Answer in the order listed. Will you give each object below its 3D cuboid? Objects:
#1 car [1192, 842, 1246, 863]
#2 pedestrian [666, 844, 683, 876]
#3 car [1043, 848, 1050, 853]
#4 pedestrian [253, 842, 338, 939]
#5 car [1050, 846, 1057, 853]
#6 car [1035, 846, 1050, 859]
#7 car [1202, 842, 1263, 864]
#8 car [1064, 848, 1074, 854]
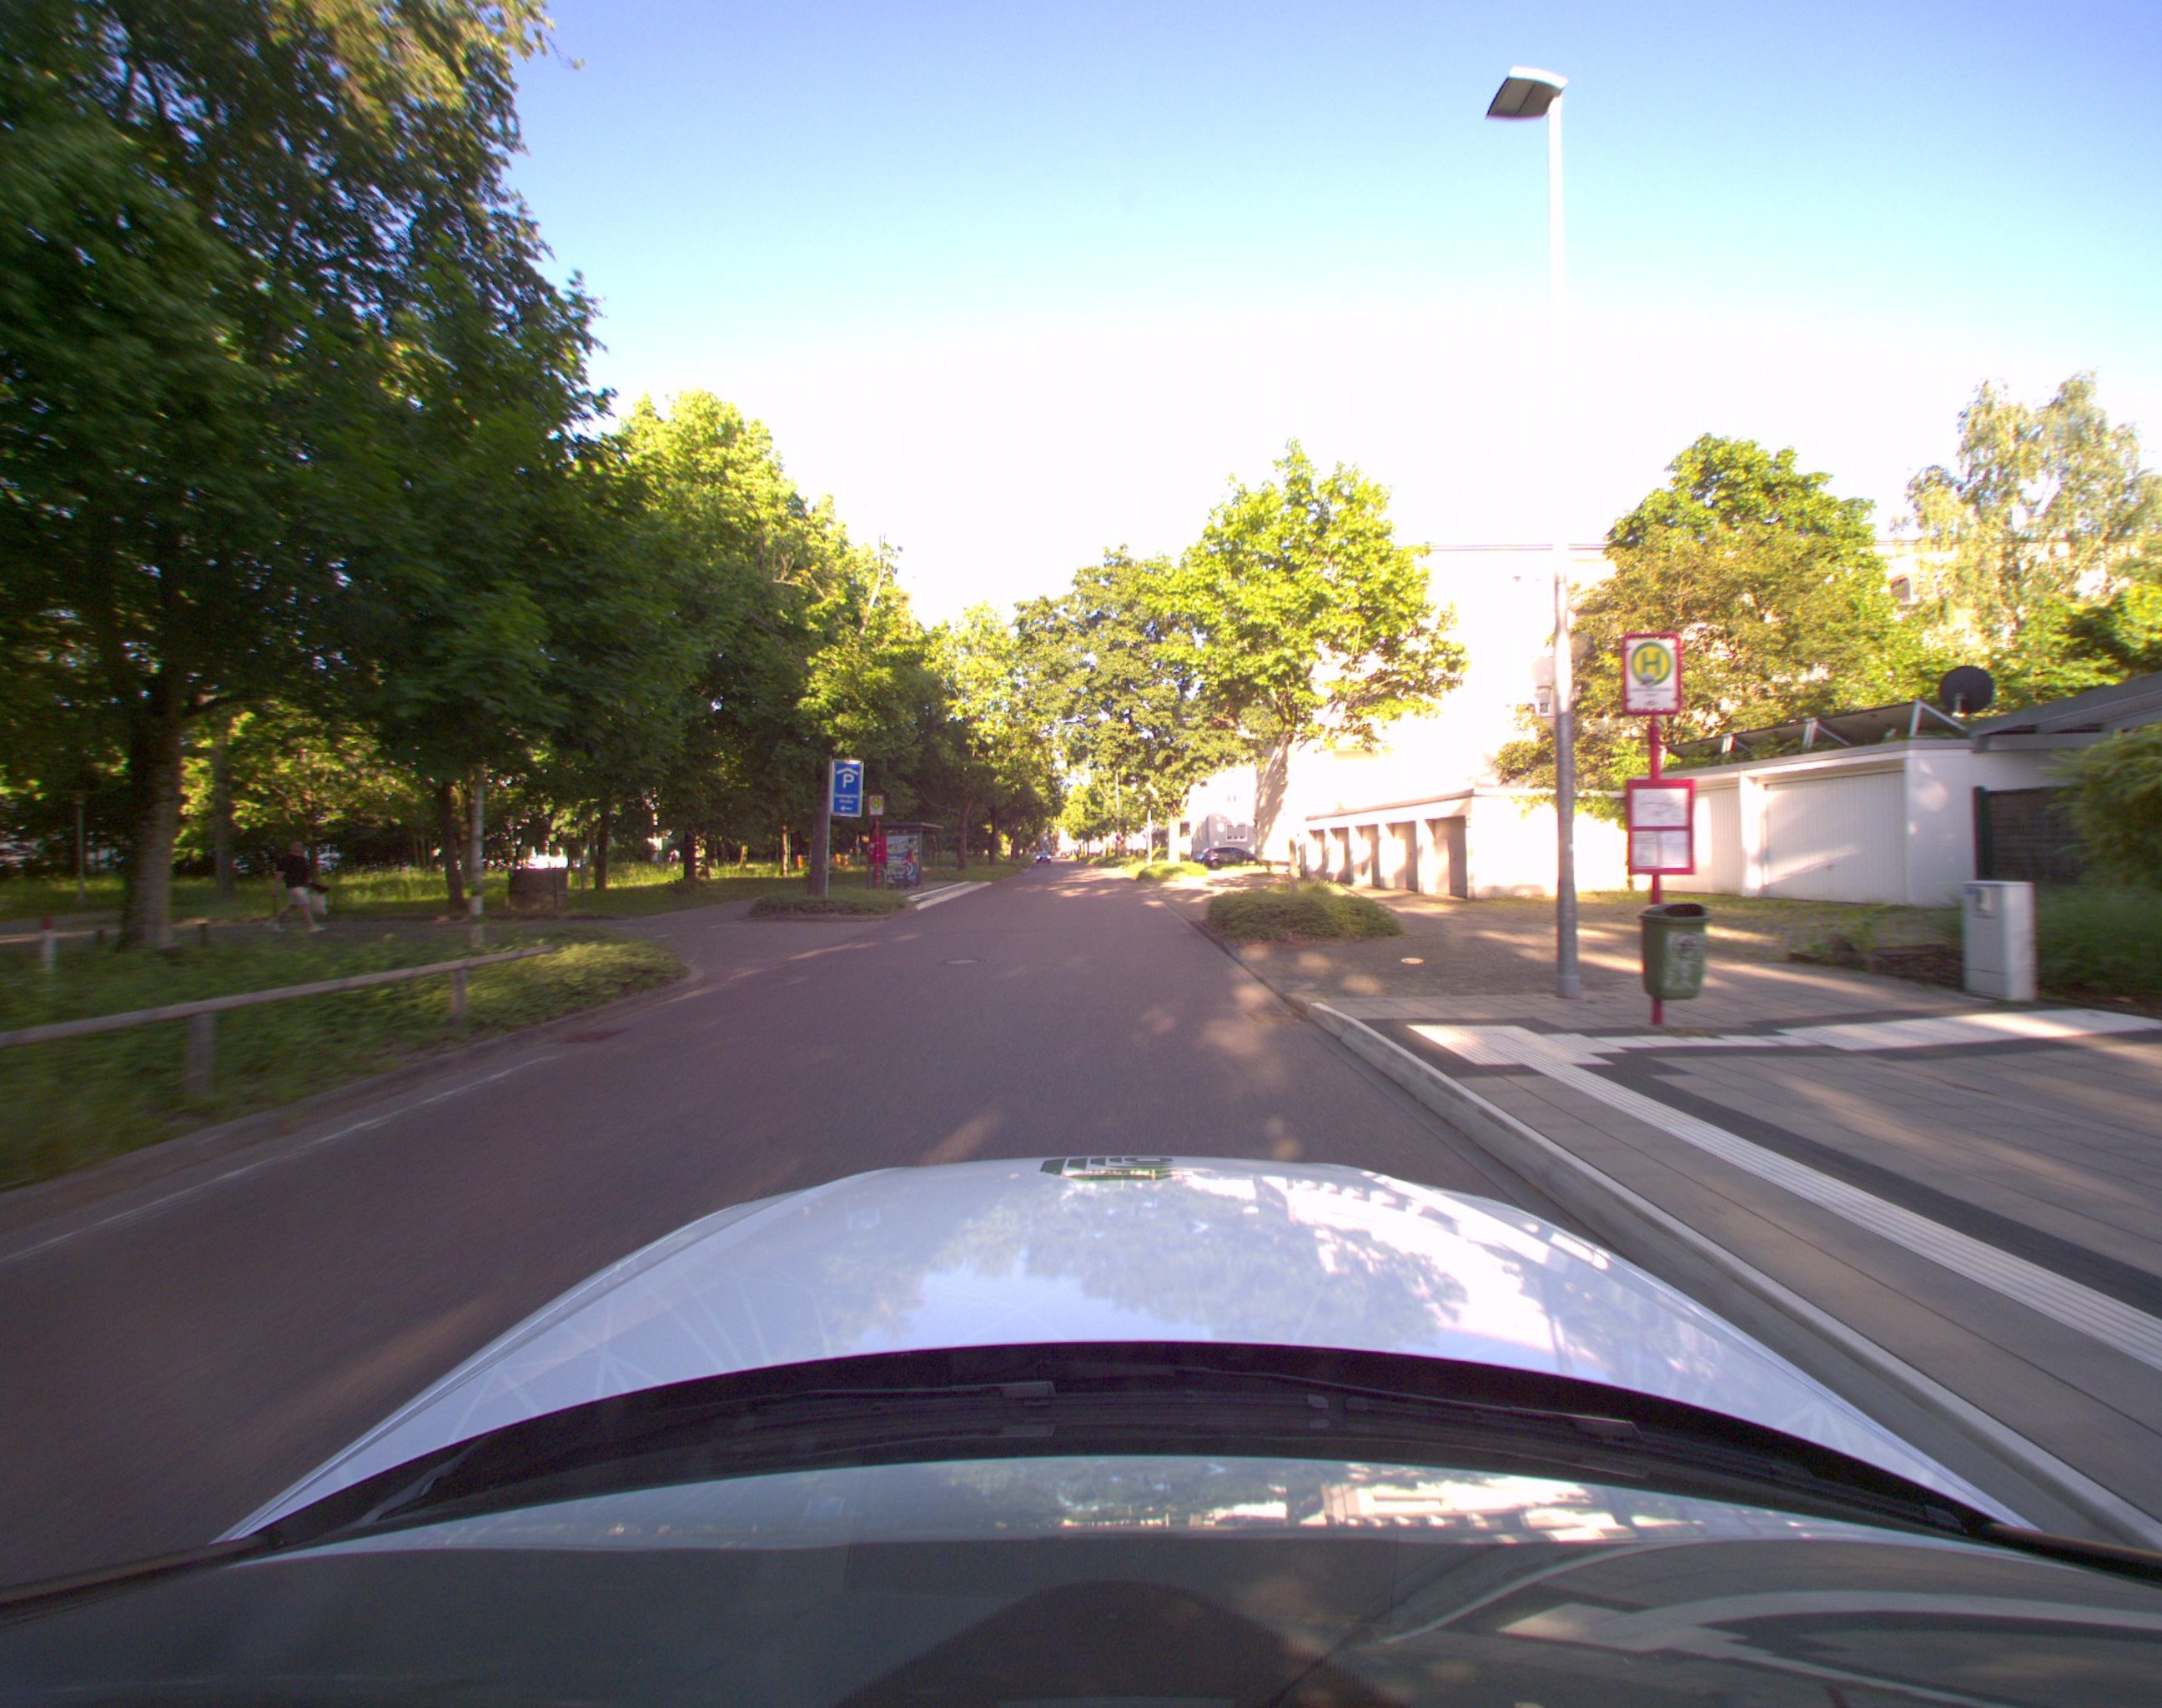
[{"bbox_3d":[11.227,-0.128,66.277,3.979,1.581,1.808,-1,1,-4],"label":"car"},{"bbox_3d":[-25.452,0.380,50.992,0.755,2.013,0.589,0,0,-5],"label":"pedestrian"},{"bbox_3d":[-10.150,-0.986,242.612,1.809,1.501,3.991,0,0,-7],"label":"car"},{"bbox_3d":[-15.238,0.691,15.816,0.900,1.821,0.720,-1,0,-2],"label":"pedestrian"},{"bbox_3d":[-7.660,-1.149,228.092,1.809,1.925,3.991,0,0,-7],"label":"car"},{"bbox_3d":[-5.076,-0.187,107.212,1.839,1.578,4.332,-3,1,-2],"label":"car"},{"bbox_3d":[10.867,-0.040,58.570,4.031,1.514,1.725,0,-1,-3],"label":"car"},{"bbox_3d":[-2.959,-0.678,199.725,1.812,1.501,3.985,-2,1,-11],"label":"car"}]
